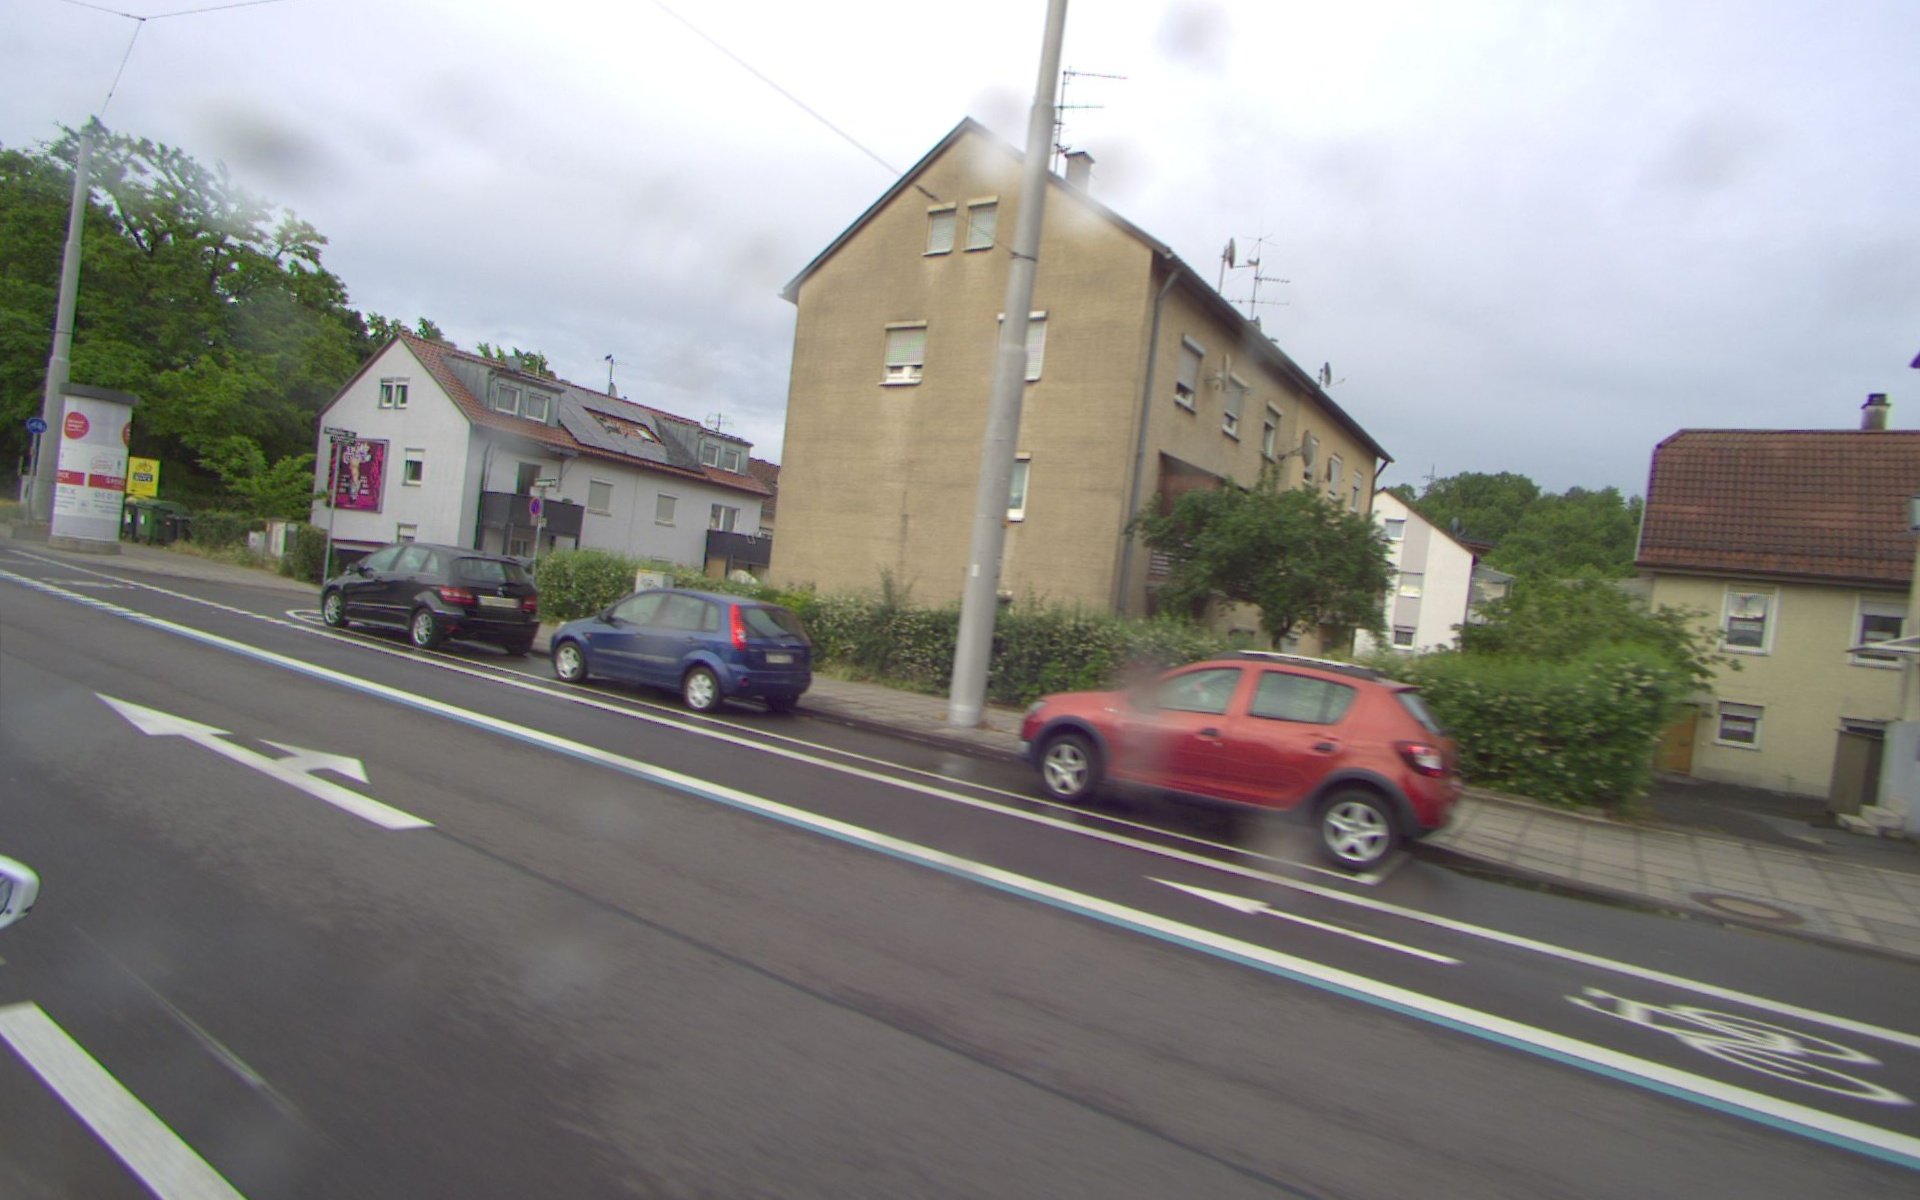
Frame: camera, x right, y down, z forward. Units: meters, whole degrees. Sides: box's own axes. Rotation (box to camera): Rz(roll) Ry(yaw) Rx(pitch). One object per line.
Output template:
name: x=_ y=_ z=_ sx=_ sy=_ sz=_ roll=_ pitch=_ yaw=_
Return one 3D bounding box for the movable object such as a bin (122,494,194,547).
movable object such as a bin: x=-25.727 y=-2.538 z=32.268 sx=1.278 sy=1.434 sz=1.314 roll=6 pitch=-1 yaw=30

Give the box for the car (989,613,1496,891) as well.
car: x=2.545 y=1.226 z=9.327 sx=4.032 sy=1.647 sz=1.840 roll=7 pitch=-1 yaw=32

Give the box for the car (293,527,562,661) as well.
car: x=-8.787 y=-0.123 z=16.507 sx=4.365 sy=1.552 sz=1.840 roll=8 pitch=-1 yaw=32

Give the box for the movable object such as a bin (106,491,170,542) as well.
movable object such as a bin: x=-26.979 y=-2.748 z=33.024 sx=1.115 sy=1.435 sz=1.187 roll=6 pitch=-1 yaw=30

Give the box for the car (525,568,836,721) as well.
car: x=-3.775 y=0.561 z=13.433 sx=3.863 sy=1.461 sz=1.670 roll=7 pitch=-1 yaw=31

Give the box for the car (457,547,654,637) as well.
car: x=-10.374 y=-0.157 z=26.101 sx=1.850 sy=1.673 sz=4.280 roll=6 pitch=-4 yaw=35
